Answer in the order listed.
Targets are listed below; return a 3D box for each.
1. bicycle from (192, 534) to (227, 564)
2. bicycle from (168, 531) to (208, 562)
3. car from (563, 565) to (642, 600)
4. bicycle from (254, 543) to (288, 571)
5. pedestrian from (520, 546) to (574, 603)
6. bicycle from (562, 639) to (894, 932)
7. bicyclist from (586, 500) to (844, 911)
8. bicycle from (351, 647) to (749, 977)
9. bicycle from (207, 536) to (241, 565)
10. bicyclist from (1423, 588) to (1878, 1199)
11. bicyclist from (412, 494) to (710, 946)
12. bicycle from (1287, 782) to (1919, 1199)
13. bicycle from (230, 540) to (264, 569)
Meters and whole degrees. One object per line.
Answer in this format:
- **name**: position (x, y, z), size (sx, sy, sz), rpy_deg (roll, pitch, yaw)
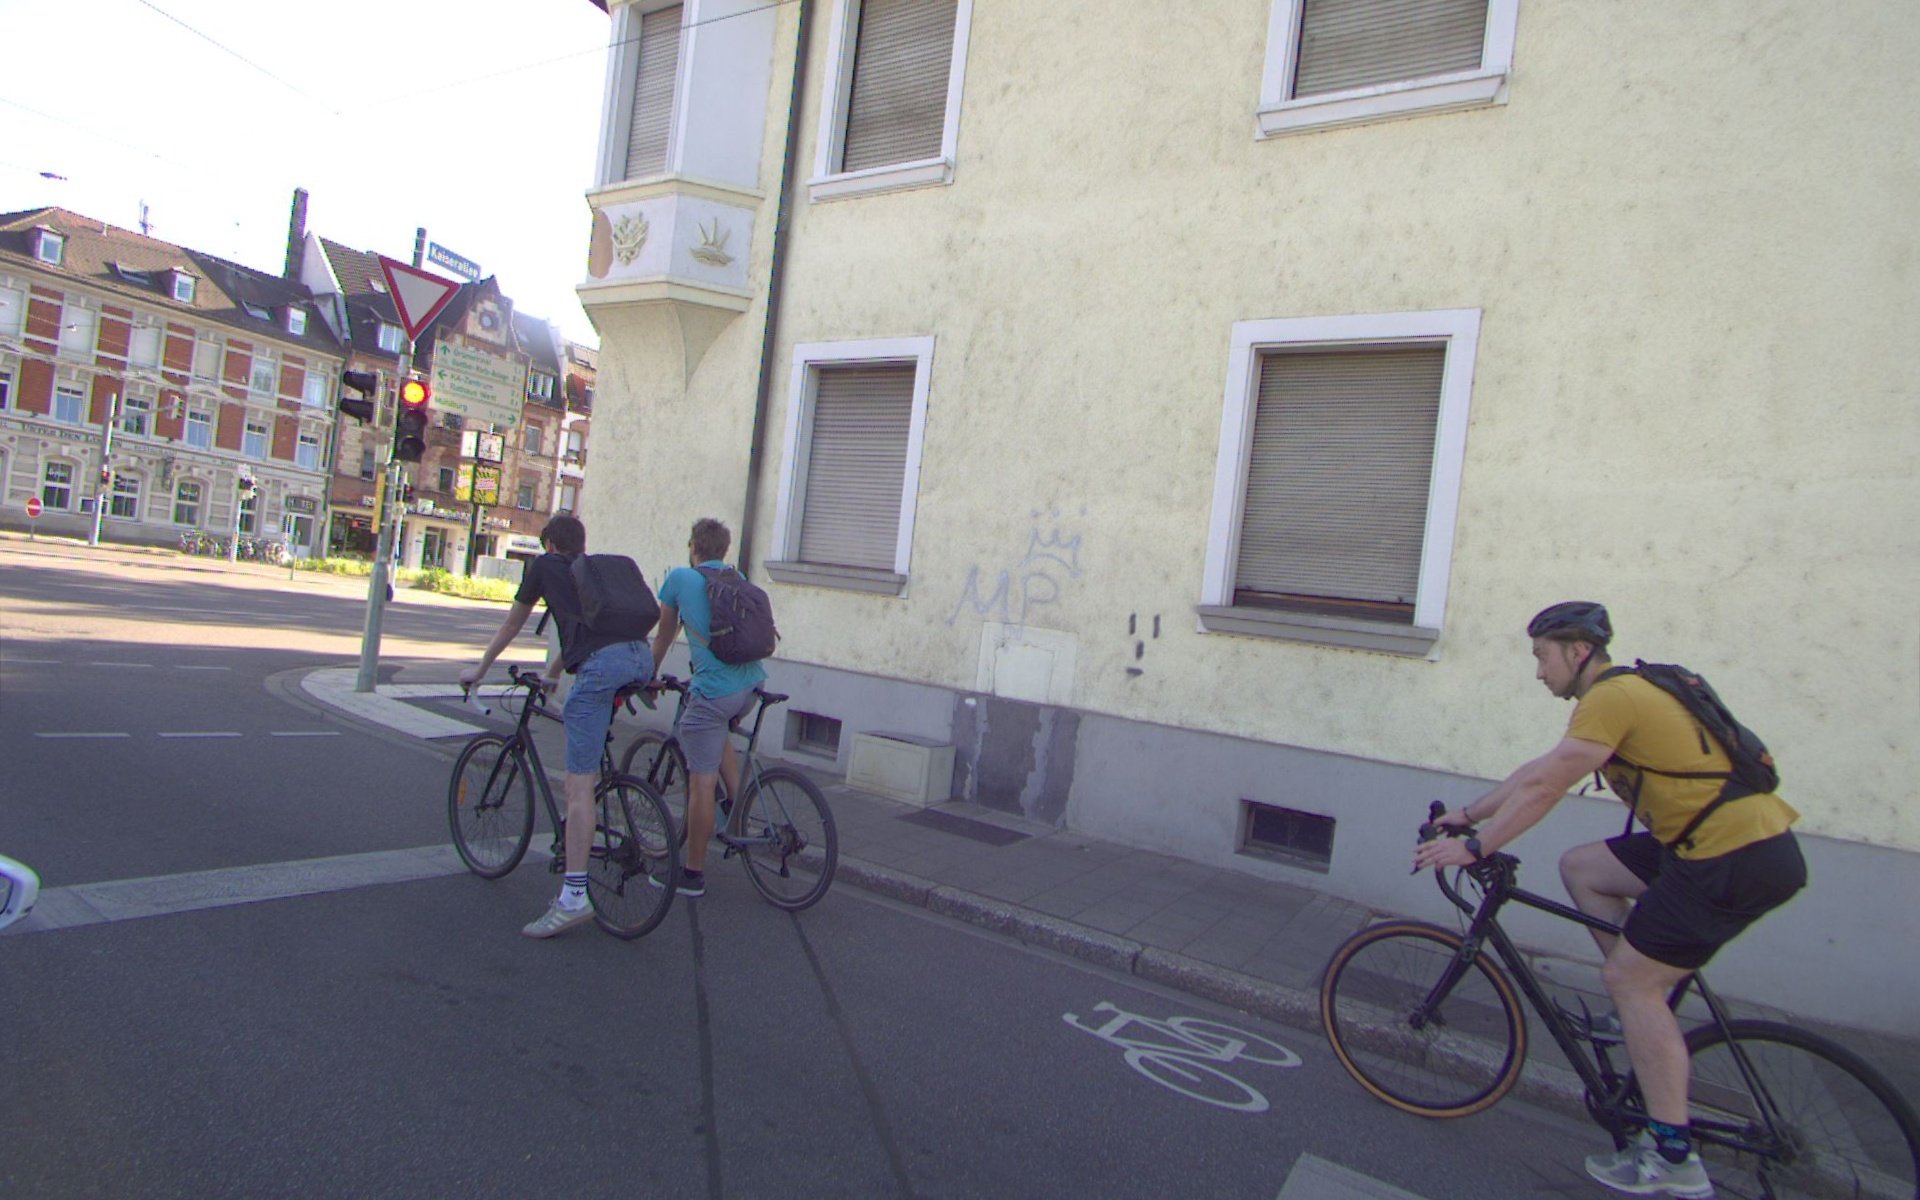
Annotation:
- **bicycle**: position (-34.548, -2.348, 46.289), size (2.140, 1.157, 0.618), rpy_deg (7, 0, 37)
- **bicycle**: position (-35.062, -2.438, 45.686), size (2.140, 1.157, 0.806), rpy_deg (7, 0, 37)
- **car**: position (-23.169, -1.109, 65.325), size (2.116, 1.660, 4.340), rpy_deg (7, -1, 31)
- **bicycle**: position (-33.115, -2.059, 48.321), size (2.102, 1.150, 0.609), rpy_deg (7, 0, 37)
- **pedestrian**: position (-16.569, -1.031, 40.381), size (1.285, 2.068, 1.321), rpy_deg (7, 0, 31)
- **bicycle**: position (-1.265, 0.884, 5.283), size (1.784, 1.130, 0.519), rpy_deg (7, 0, 34)
- **bicyclist**: position (-1.281, 0.498, 5.248), size (0.961, 1.917, 0.602), rpy_deg (6, -1, 34)
- **bicycle**: position (-1.926, 0.853, 4.593), size (1.897, 1.023, 0.645), rpy_deg (7, 0, 34)
- **bicycle**: position (-34.213, -2.300, 46.766), size (2.140, 1.157, 0.618), rpy_deg (7, 0, 37)
- **bicyclist**: position (2.128, 0.898, 3.216), size (0.940, 1.743, 0.582), rpy_deg (7, 0, 32)
- **bicyclist**: position (-1.815, 0.471, 4.547), size (1.083, 1.775, 0.562), rpy_deg (7, 0, 34)
- **bicycle**: position (2.087, 1.322, 3.222), size (1.780, 1.101, 0.611), rpy_deg (7, 0, 32)
- **bicycle**: position (-33.680, -2.152, 47.517), size (2.140, 1.157, 0.618), rpy_deg (7, 0, 37)
